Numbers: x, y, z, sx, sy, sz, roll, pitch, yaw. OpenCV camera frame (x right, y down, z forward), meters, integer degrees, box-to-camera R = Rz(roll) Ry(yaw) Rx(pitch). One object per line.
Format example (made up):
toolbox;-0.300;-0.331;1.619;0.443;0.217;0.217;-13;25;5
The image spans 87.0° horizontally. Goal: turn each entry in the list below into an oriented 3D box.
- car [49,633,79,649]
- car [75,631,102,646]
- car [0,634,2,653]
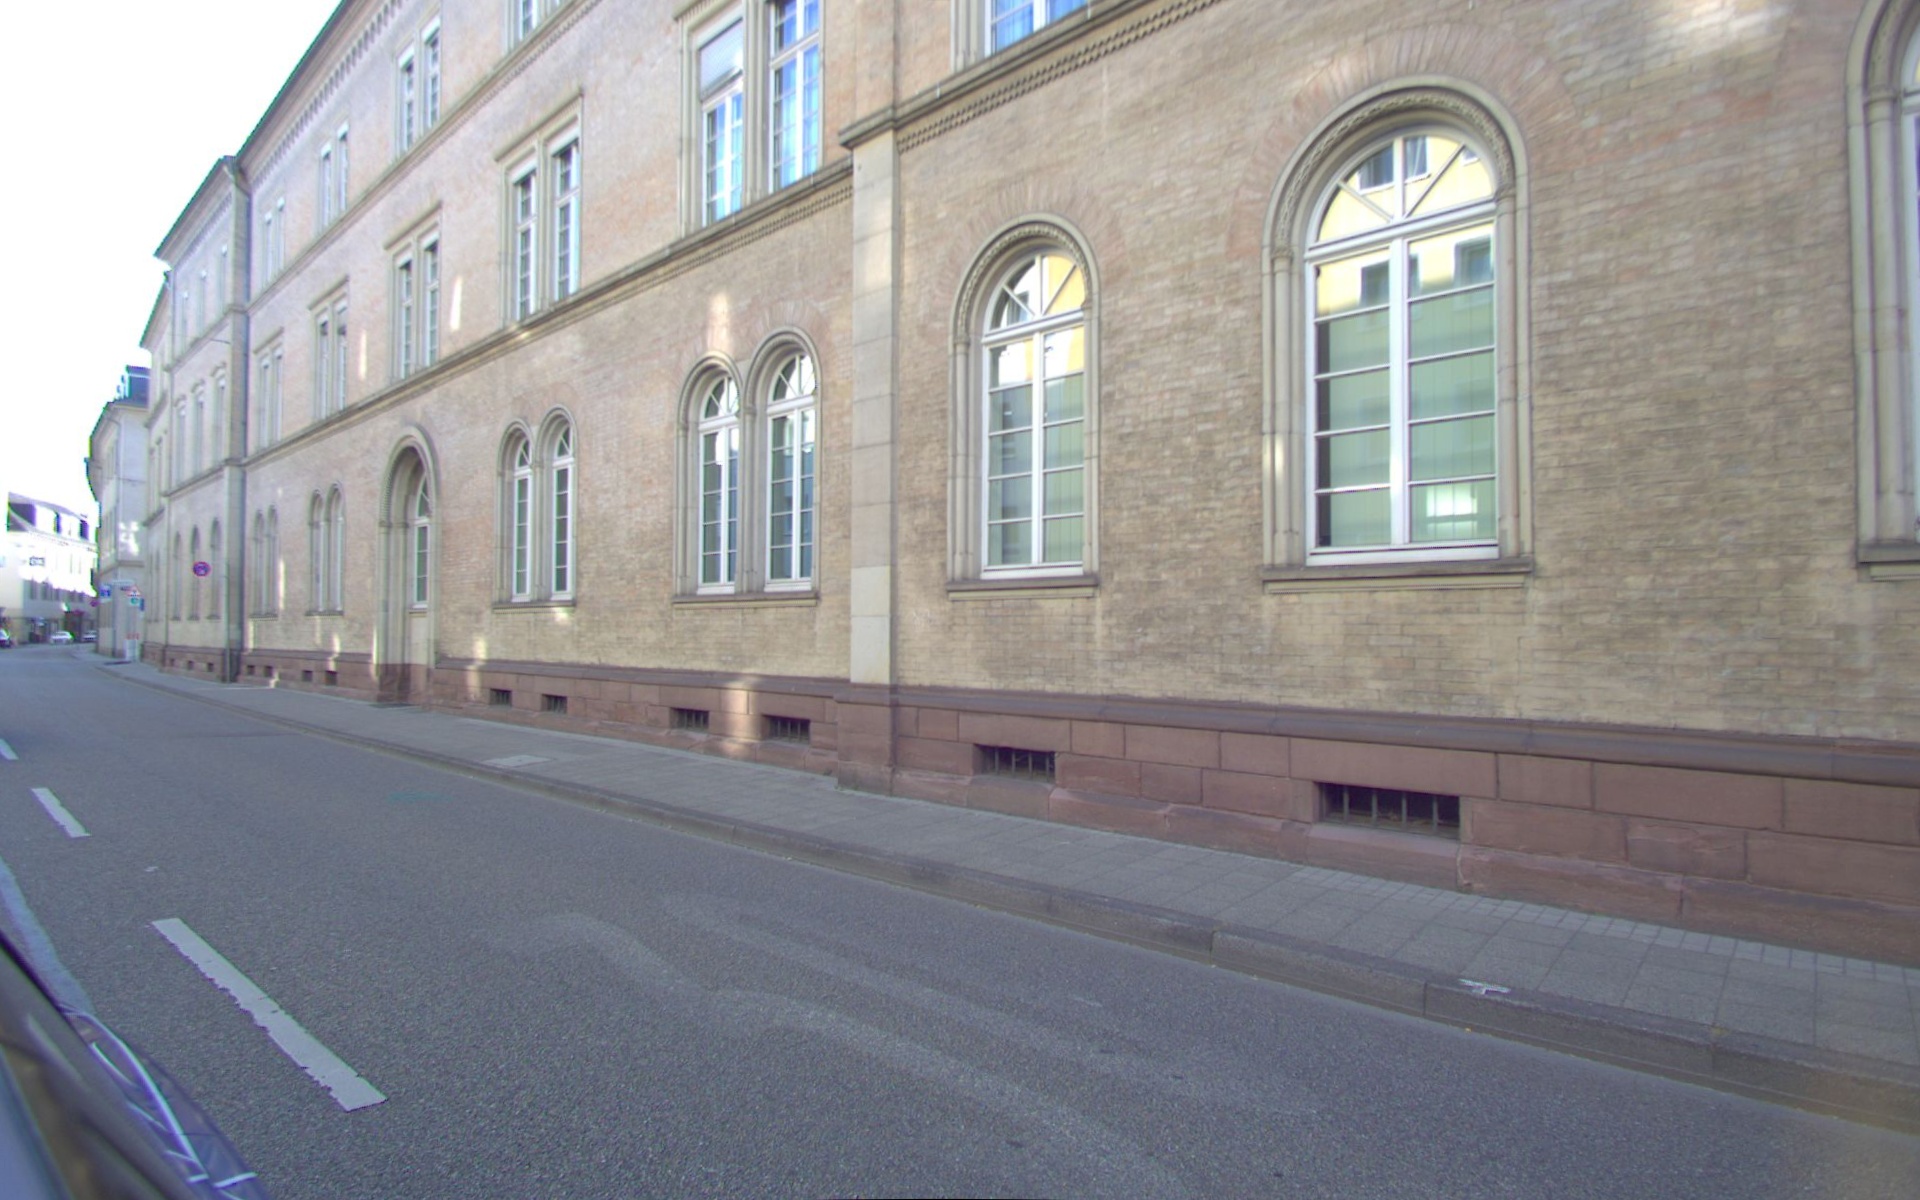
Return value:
car;-102.851;4.721;116.173;1.966;1.665;4.240;-1;0;-33
car;-109.224;4.802;126.826;1.966;1.665;4.240;-1;0;-33
car;-86.609;3.922;89.948;1.969;1.665;4.235;-1;0;-41
